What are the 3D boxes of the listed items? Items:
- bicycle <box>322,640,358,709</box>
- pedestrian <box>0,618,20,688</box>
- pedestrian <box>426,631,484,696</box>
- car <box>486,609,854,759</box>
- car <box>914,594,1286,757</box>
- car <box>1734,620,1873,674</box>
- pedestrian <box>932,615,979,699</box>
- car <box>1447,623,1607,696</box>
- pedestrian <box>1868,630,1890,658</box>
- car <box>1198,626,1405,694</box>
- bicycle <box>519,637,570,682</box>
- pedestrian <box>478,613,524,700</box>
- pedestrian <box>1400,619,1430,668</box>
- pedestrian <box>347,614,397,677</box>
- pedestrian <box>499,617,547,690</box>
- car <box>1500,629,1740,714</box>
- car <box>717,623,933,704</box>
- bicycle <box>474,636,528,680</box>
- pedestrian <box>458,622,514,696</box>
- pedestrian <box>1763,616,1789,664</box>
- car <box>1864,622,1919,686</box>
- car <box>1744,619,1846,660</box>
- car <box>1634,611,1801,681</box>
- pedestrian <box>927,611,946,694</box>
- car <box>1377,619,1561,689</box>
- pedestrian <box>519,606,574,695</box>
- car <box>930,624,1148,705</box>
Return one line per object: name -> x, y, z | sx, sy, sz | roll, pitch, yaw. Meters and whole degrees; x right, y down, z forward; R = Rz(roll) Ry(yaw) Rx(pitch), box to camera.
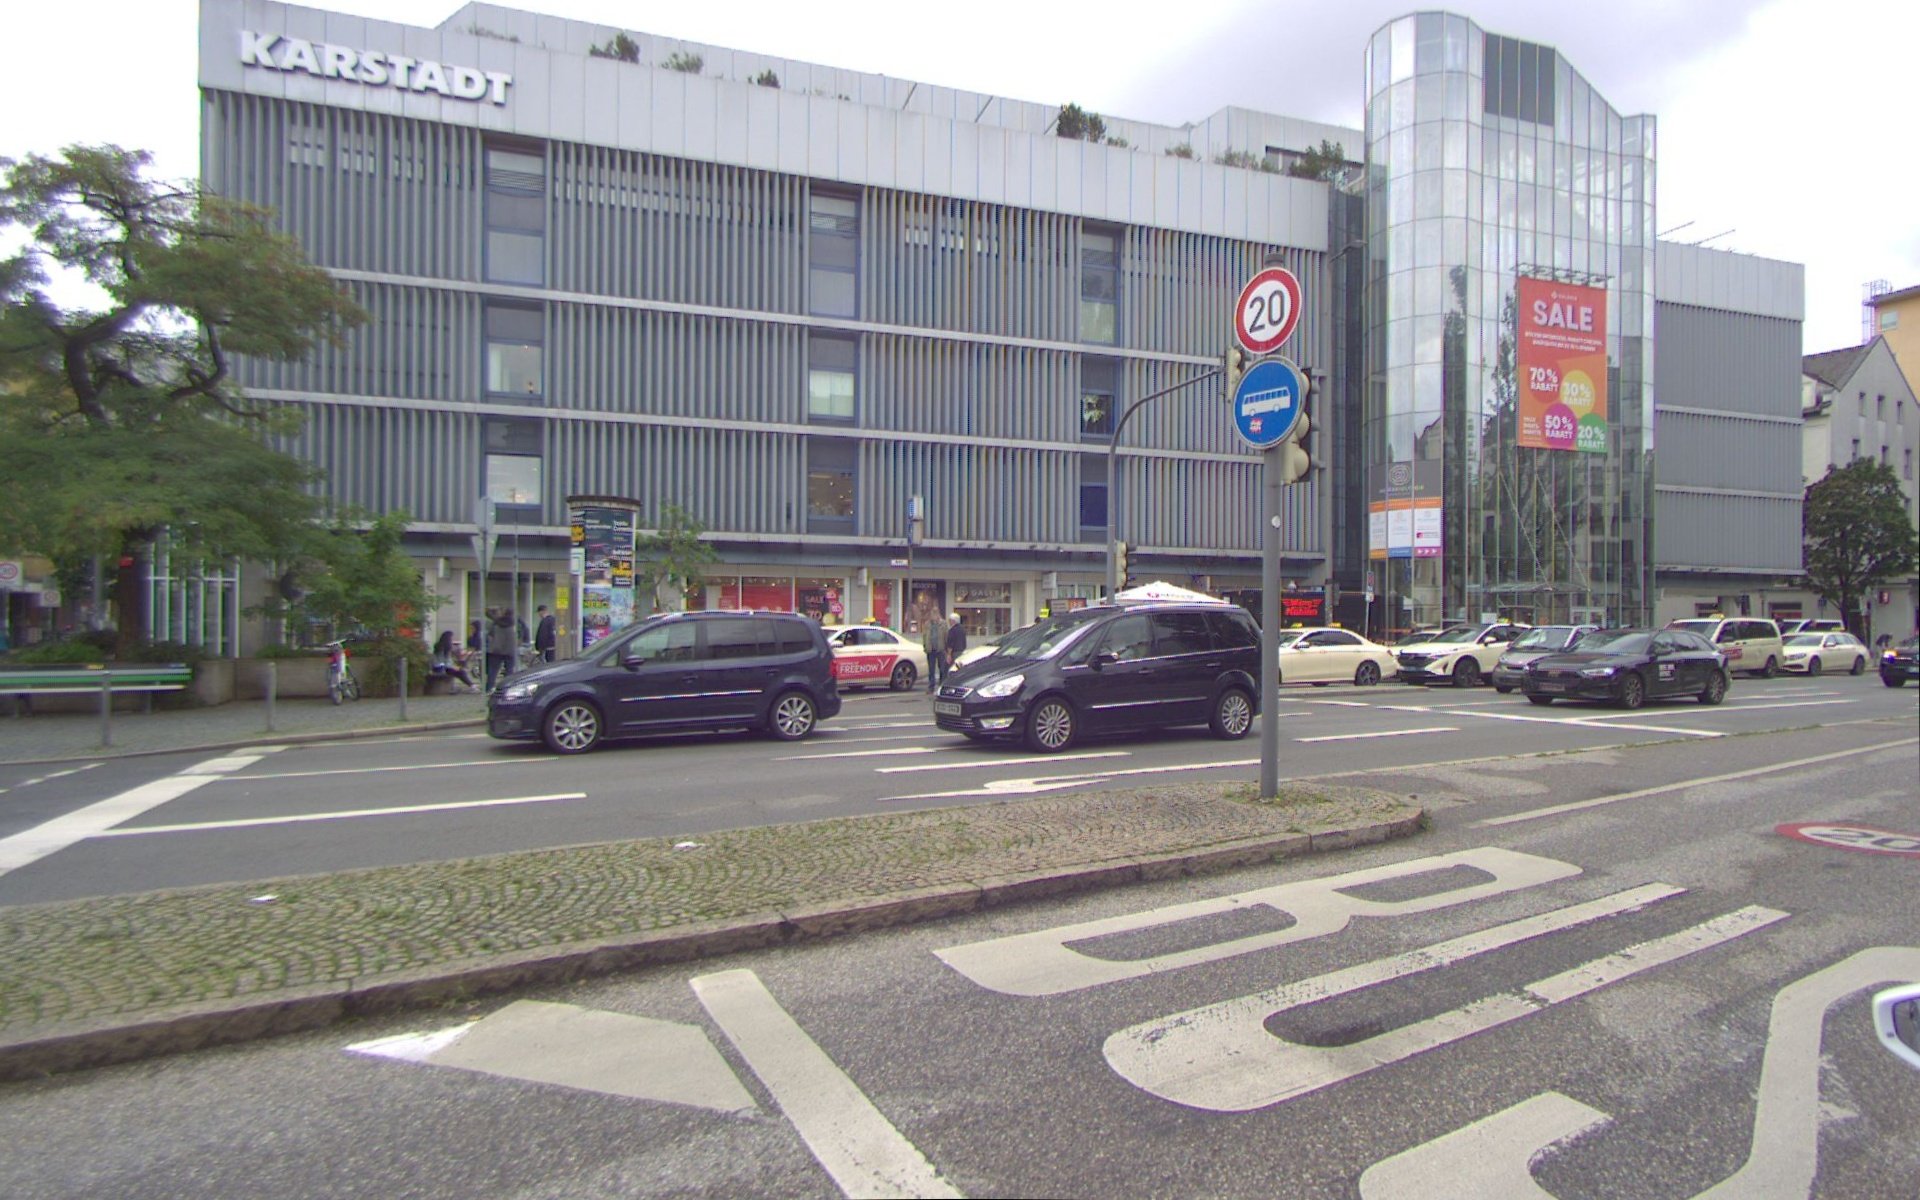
bicycle -> -10.942, 1.285, 17.746 | 0.368, 1.126, 1.568 | 1, -1, -26
pedestrian -> -23.838, 1.304, 24.809 | 0.778, 1.710, 0.857 | -1, -1, 44
pedestrian -> -10.380, 1.291, 20.655 | 1.032, 1.292, 0.542 | 1, -1, -30
car -> -3.644, 0.952, 12.799 | 4.207, 1.635, 1.830 | 1, -1, -30
car -> 1.852, 0.865, 12.872 | 4.534, 1.762, 1.927 | 1, -1, -30
car -> 28.565, 1.554, 33.988 | 4.474, 1.677, 1.986 | 1, 0, -27
pedestrian -> -0.104, 1.172, 21.000 | 0.741, 1.713, 0.768 | 0, -1, -26
car -> 12.987, 1.314, 23.018 | 3.339, 1.572, 1.619 | 1, -1, -26
pedestrian -> 43.686, 2.100, 47.756 | 0.618, 1.307, 0.557 | 0, -1, -19
car -> 8.257, 1.386, 24.286 | 4.566, 1.528, 1.990 | 1, -1, -22
bicycle -> -11.643, 1.638, 28.276 | 0.791, 1.114, 3.672 | 0, -1, -14
pedestrian -> -9.024, 1.096, 19.784 | 0.740, 1.676, 0.769 | 0, -1, -20
pedestrian -> 16.228, 1.545, 35.828 | 0.700, 1.714, 0.651 | 0, -1, -18
pedestrian -> -15.176, 1.165, 25.943 | 0.962, 1.602, 0.796 | 1, -1, -20
pedestrian -> -9.598, 1.152, 22.057 | 0.762, 1.575, 0.747 | -1, -1, 45
car -> 12.389, 1.252, 18.805 | 4.543, 1.401, 1.837 | 1, -1, -29
car -> -2.824, 1.291, 21.768 | 1.973, 1.556, 4.387 | -1, -2, 44
bicycle -> -12.835, 1.593, 28.208 | 0.774, 1.114, 3.431 | 0, -1, -14
pedestrian -> -10.021, 1.227, 21.245 | 0.737, 1.513, 0.772 | 0, -1, 25
pedestrian -> 31.675, 1.538, 38.997 | 0.618, 1.842, 0.557 | 0, -1, -19
car -> 25.446, 1.351, 25.603 | 4.525, 1.554, 1.988 | 1, -1, -25
car -> 38.345, 1.780, 46.139 | 4.180, 1.795, 1.866 | 1, -1, -22
car -> 23.843, 1.387, 31.573 | 5.451, 2.040, 1.987 | 1, -1, -27
pedestrian -> -0.509, 1.134, 21.755 | 0.348, 1.783, 0.447 | 0, -1, 5
car -> 13.221, 1.363, 26.141 | 4.117, 1.701, 1.992 | 1, -1, -18
pedestrian -> -8.522, 1.028, 20.708 | 0.739, 1.796, 0.770 | -1, -1, 36
car -> 1.703, 1.286, 21.254 | 4.341, 1.563, 1.892 | 1, -1, -30
